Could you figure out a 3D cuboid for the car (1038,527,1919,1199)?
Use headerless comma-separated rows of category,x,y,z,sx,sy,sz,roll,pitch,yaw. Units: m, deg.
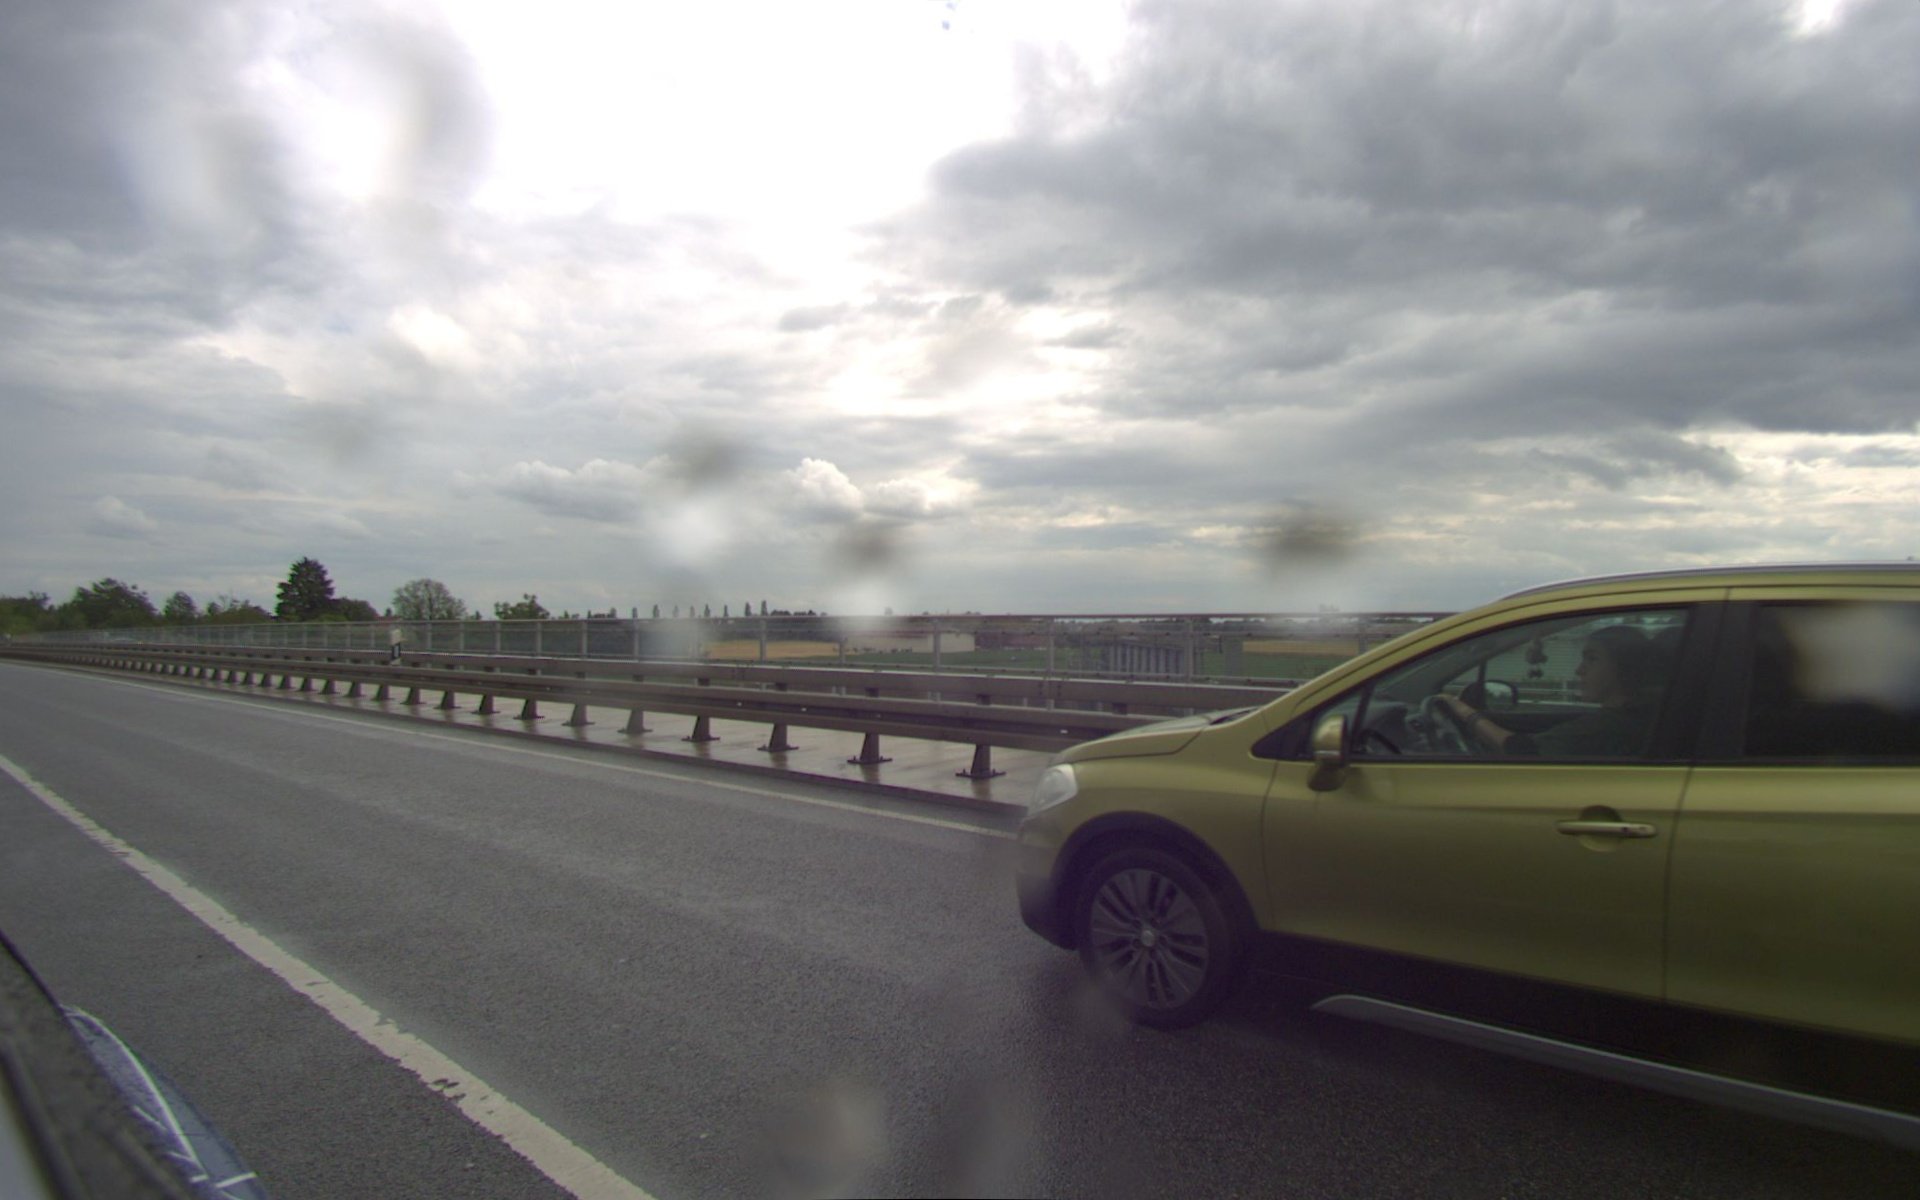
car,2.288,0.601,3.027,3.858,1.528,1.696,0,1,41

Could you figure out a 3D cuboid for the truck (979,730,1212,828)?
truck,6.559,8.762,49.911,11.005,4.031,2.439,-1,0,-3
